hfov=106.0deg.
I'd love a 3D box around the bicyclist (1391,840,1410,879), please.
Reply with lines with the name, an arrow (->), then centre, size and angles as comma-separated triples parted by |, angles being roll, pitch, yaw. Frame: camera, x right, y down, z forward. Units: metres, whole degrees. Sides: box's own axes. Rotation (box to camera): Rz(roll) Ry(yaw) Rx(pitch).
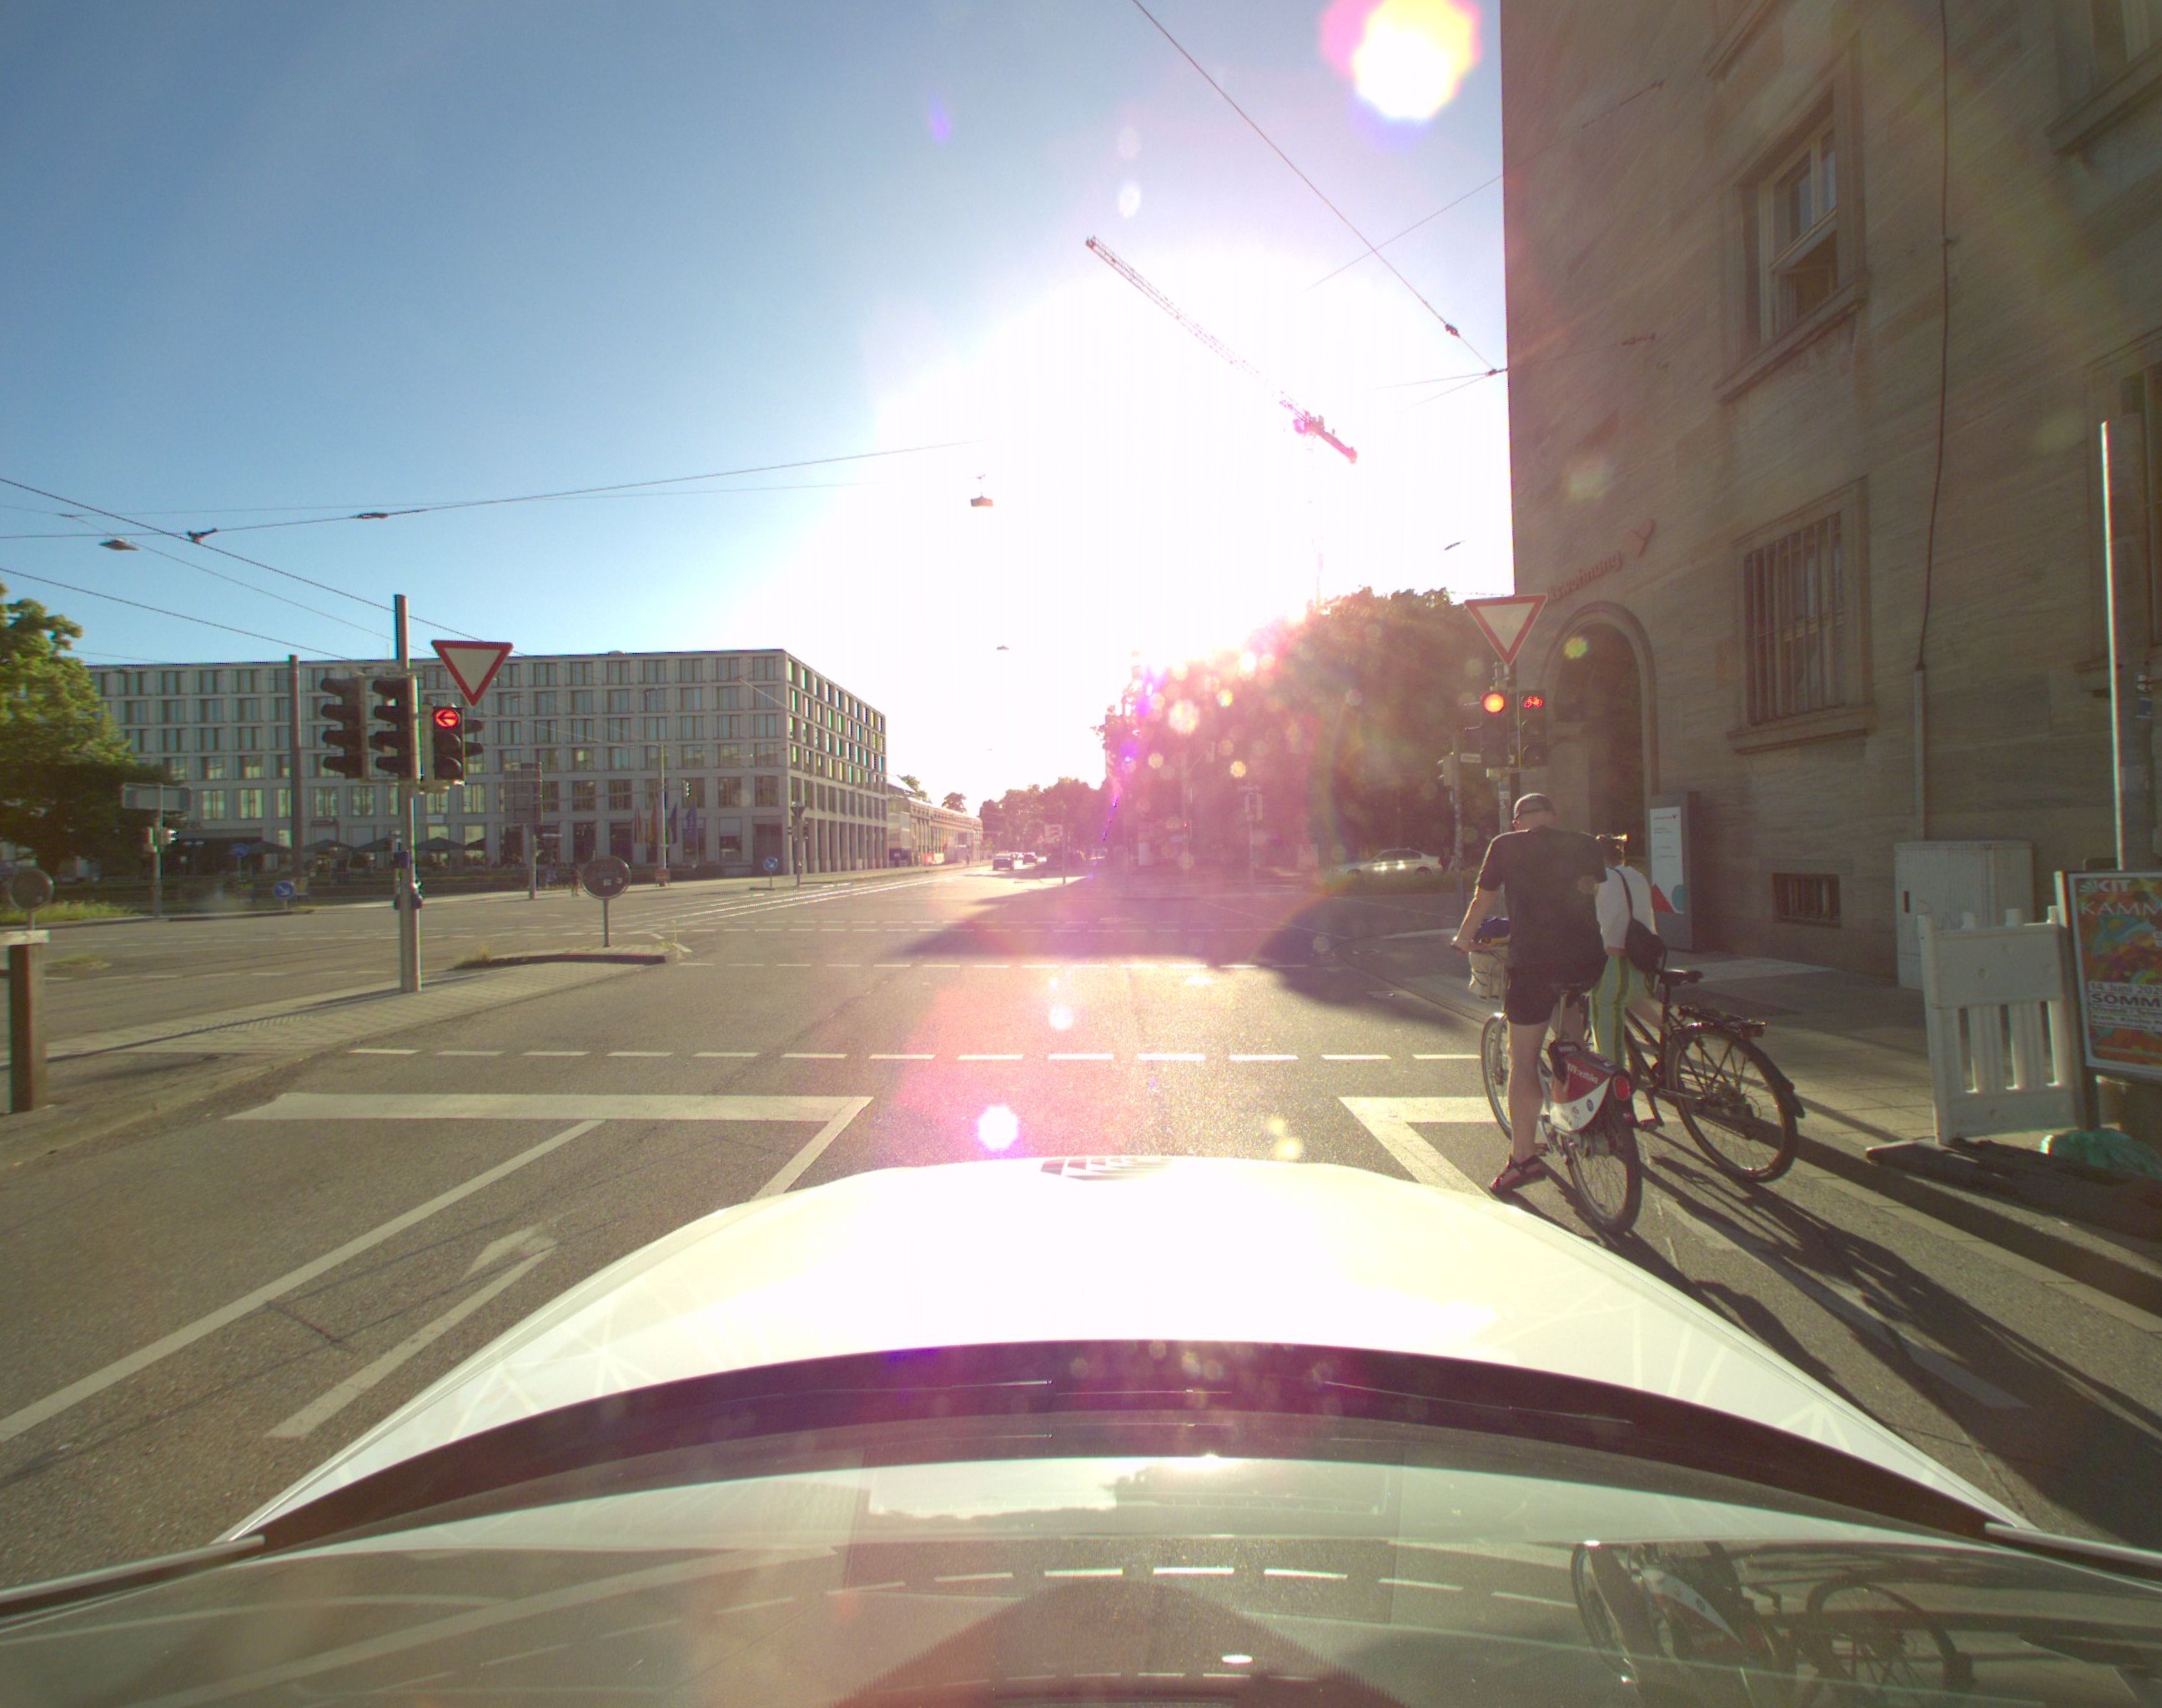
bicyclist -> 14.069, 0.255, 35.895 | 0.640, 1.683, 0.508 | -2, 0, 7

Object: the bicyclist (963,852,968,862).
bicyclist -> -15.554, 0.426, 109.764 | 0.594, 1.377, 0.637 | 0, -1, 0

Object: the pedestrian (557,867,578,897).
pedestrian -> -28.726, 1.560, 45.566 | 0.775, 1.589, 0.589 | -2, 0, -9

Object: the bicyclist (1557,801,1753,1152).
bicyclist -> 2.960, 0.591, 4.254 | 0.556, 1.691, 0.640 | -1, 0, 0

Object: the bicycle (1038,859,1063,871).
bicycle -> -2.566, 0.903, 67.712 | 1.996, 0.891, 0.655 | -4, -1, 29

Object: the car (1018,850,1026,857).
car -> -14.234, -0.126, 195.330 | 1.688, 1.718, 4.245 | 0, -1, -1

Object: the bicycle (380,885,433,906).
bicycle -> -32.677, 1.999, 39.481 | 0.755, 0.935, 1.871 | -2, 0, 14

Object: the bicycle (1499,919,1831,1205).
bicycle -> 2.949, 0.958, 4.361 | 0.532, 1.077, 1.751 | -1, 0, 1

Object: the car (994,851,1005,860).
car -> -15.663, 0.258, 157.080 | 1.688, 1.718, 4.245 | 0, -1, -1

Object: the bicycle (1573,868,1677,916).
bicycle -> 11.517, 0.803, 17.257 | 1.853, 0.935, 0.559 | -2, 0, -4

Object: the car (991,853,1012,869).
car -> -7.419, 0.678, 76.571 | 1.656, 1.455, 4.429 | -1, 0, -2

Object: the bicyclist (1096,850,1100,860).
bicyclist -> 2.902, 0.233, 139.603 | 0.567, 1.691, 0.700 | -2, 0, 1

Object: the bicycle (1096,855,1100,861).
bicycle -> 2.908, 0.651, 139.591 | 0.573, 1.077, 1.831 | -2, 0, 1

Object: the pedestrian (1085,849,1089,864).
pedestrian -> 0.752, 0.314, 97.810 | 0.462, 1.813, 0.502 | -2, 0, -3

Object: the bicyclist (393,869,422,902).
bicyclist -> -32.674, 1.527, 39.505 | 0.753, 1.589, 0.781 | -2, 0, 16

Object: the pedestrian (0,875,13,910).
pedestrian -> -59.505, 2.120, 44.657 | 0.711, 1.900, 0.877 | -1, -1, 11

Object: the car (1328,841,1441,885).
car -> 12.352, 0.351, 33.264 | 3.979, 1.611, 1.650 | -2, 0, 1

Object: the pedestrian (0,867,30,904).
pedestrian -> -59.992, 1.760, 45.788 | 0.837, 2.014, 0.827 | -1, -1, 11

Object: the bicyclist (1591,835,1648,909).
bicyclist -> 11.416, 0.370, 17.286 | 0.761, 1.524, 0.606 | -2, 0, -3

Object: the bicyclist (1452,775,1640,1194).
bicyclist -> 2.129, 0.561, 3.787 | 0.556, 1.799, 0.551 | -1, 0, 3

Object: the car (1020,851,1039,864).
car -> -6.817, 0.466, 108.235 | 1.884, 1.565, 4.811 | 1, 0, 3

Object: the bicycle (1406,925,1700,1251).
bicycle -> 2.127, 0.957, 3.945 | 0.513, 1.077, 1.729 | -1, 0, 4

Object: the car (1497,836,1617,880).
car -> 19.221, 0.171, 32.986 | 3.835, 1.611, 1.650 | -2, 0, 1

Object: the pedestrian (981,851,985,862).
pedestrian -> -18.685, 0.461, 154.817 | 0.672, 2.014, 0.751 | 0, -1, -1
